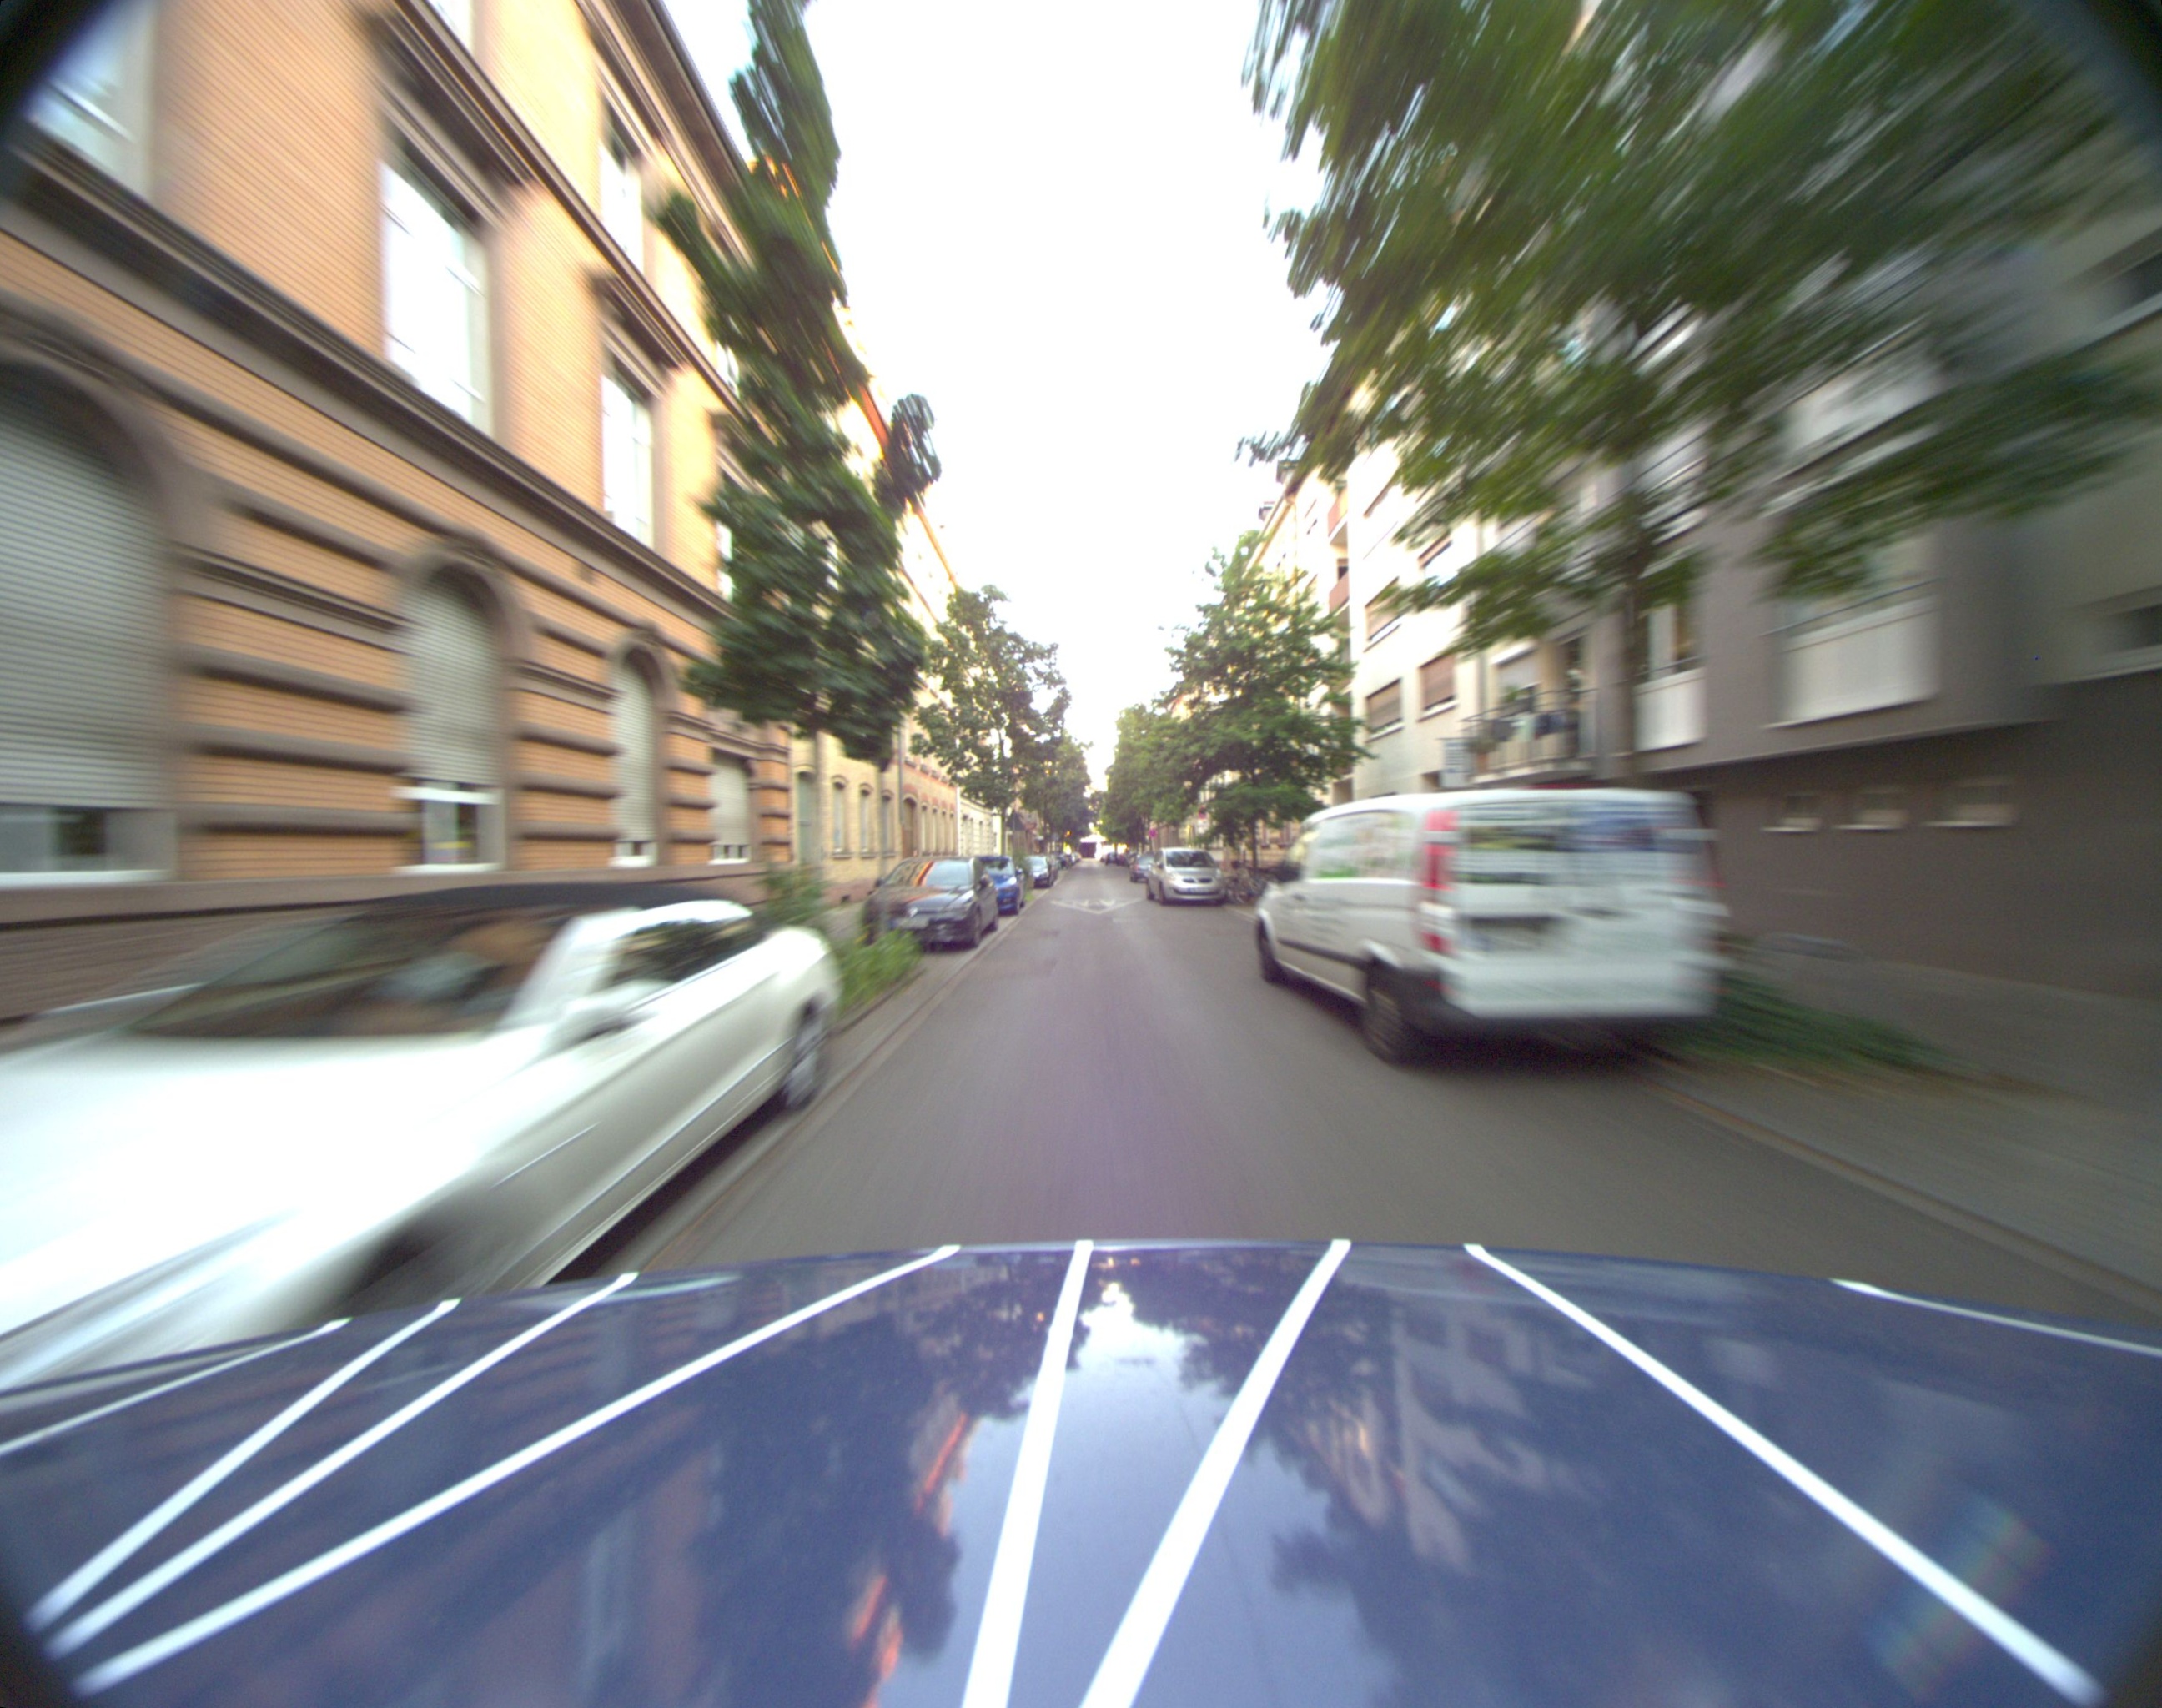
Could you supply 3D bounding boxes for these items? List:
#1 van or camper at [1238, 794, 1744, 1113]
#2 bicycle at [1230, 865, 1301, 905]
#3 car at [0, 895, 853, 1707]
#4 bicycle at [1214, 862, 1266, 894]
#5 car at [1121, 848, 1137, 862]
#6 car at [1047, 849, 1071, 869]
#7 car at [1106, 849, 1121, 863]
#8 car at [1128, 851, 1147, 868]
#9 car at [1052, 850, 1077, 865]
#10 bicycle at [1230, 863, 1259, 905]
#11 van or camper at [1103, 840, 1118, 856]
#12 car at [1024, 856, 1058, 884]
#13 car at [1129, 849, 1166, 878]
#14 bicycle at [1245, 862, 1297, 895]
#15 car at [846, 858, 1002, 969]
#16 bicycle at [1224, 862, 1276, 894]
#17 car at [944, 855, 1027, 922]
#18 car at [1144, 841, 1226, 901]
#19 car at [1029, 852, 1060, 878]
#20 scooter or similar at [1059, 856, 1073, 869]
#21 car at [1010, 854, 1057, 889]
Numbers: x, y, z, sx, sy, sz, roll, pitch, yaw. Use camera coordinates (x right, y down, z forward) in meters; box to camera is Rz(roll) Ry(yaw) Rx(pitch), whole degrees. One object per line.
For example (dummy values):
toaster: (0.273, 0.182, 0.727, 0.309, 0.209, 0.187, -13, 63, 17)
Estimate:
van or camper: (2.874, 0.569, 6.778, 1.881, 1.832, 4.752, -1, 0, -1)
bicycle: (4.850, 0.796, 20.017, 1.726, 0.989, 0.578, 0, 0, 34)
car: (-2.498, 1.004, 3.114, 1.698, 1.393, 4.645, 0, 0, 0)
bicycle: (4.944, 0.729, 23.548, 1.707, 0.902, 0.383, -2, 1, -29)
car: (5.465, 0.065, 86.496, 1.523, 1.493, 3.561, -3, 1, 1)
car: (-2.055, 0.433, 72.795, 2.018, 1.822, 4.810, 1, 0, 1)
car: (4.054, 0.231, 94.629, 1.728, 1.564, 4.219, -1, 0, 1)
car: (5.498, 0.530, 73.749, 1.680, 1.598, 3.862, -2, 0, 3)
car: (-1.965, 0.406, 90.633, 2.804, 1.590, 1.800, 2, 1, 1)
bicycle: (4.635, 0.821, 21.611, 0.420, 1.097, 1.665, -2, 1, 0)
van or camper: (4.437, -0.888, 114.985, 2.225, 2.417, 5.660, -1, 0, 1)
car: (-2.106, 0.818, 40.570, 1.640, 1.415, 3.564, 0, 0, -1)
car: (3.368, 0.449, 38.876, 1.584, 1.412, 3.753, -1, 0, 0)
bicycle: (5.699, 0.714, 22.766, 1.667, 0.893, 0.383, -2, 1, -29)
car: (-2.418, 0.844, 12.746, 1.716, 1.469, 4.192, -1, 0, 0)
bicycle: (5.160, 0.725, 23.143, 1.707, 0.893, 0.383, -2, 1, -29)
car: (-2.289, 0.778, 19.159, 1.632, 1.458, 4.244, -1, 0, -1)
car: (2.920, 0.438, 22.039, 1.668, 1.554, 3.999, -1, 0, -2)
car: (-2.160, 0.644, 46.179, 1.721, 1.467, 4.367, 0, 0, -1)
scooter or similar: (-1.382, 0.766, 68.561, 0.673, 1.183, 1.118, 2, 2, 40)
car: (-2.078, 0.740, 34.504, 1.771, 1.407, 4.473, 1, 0, 1)
